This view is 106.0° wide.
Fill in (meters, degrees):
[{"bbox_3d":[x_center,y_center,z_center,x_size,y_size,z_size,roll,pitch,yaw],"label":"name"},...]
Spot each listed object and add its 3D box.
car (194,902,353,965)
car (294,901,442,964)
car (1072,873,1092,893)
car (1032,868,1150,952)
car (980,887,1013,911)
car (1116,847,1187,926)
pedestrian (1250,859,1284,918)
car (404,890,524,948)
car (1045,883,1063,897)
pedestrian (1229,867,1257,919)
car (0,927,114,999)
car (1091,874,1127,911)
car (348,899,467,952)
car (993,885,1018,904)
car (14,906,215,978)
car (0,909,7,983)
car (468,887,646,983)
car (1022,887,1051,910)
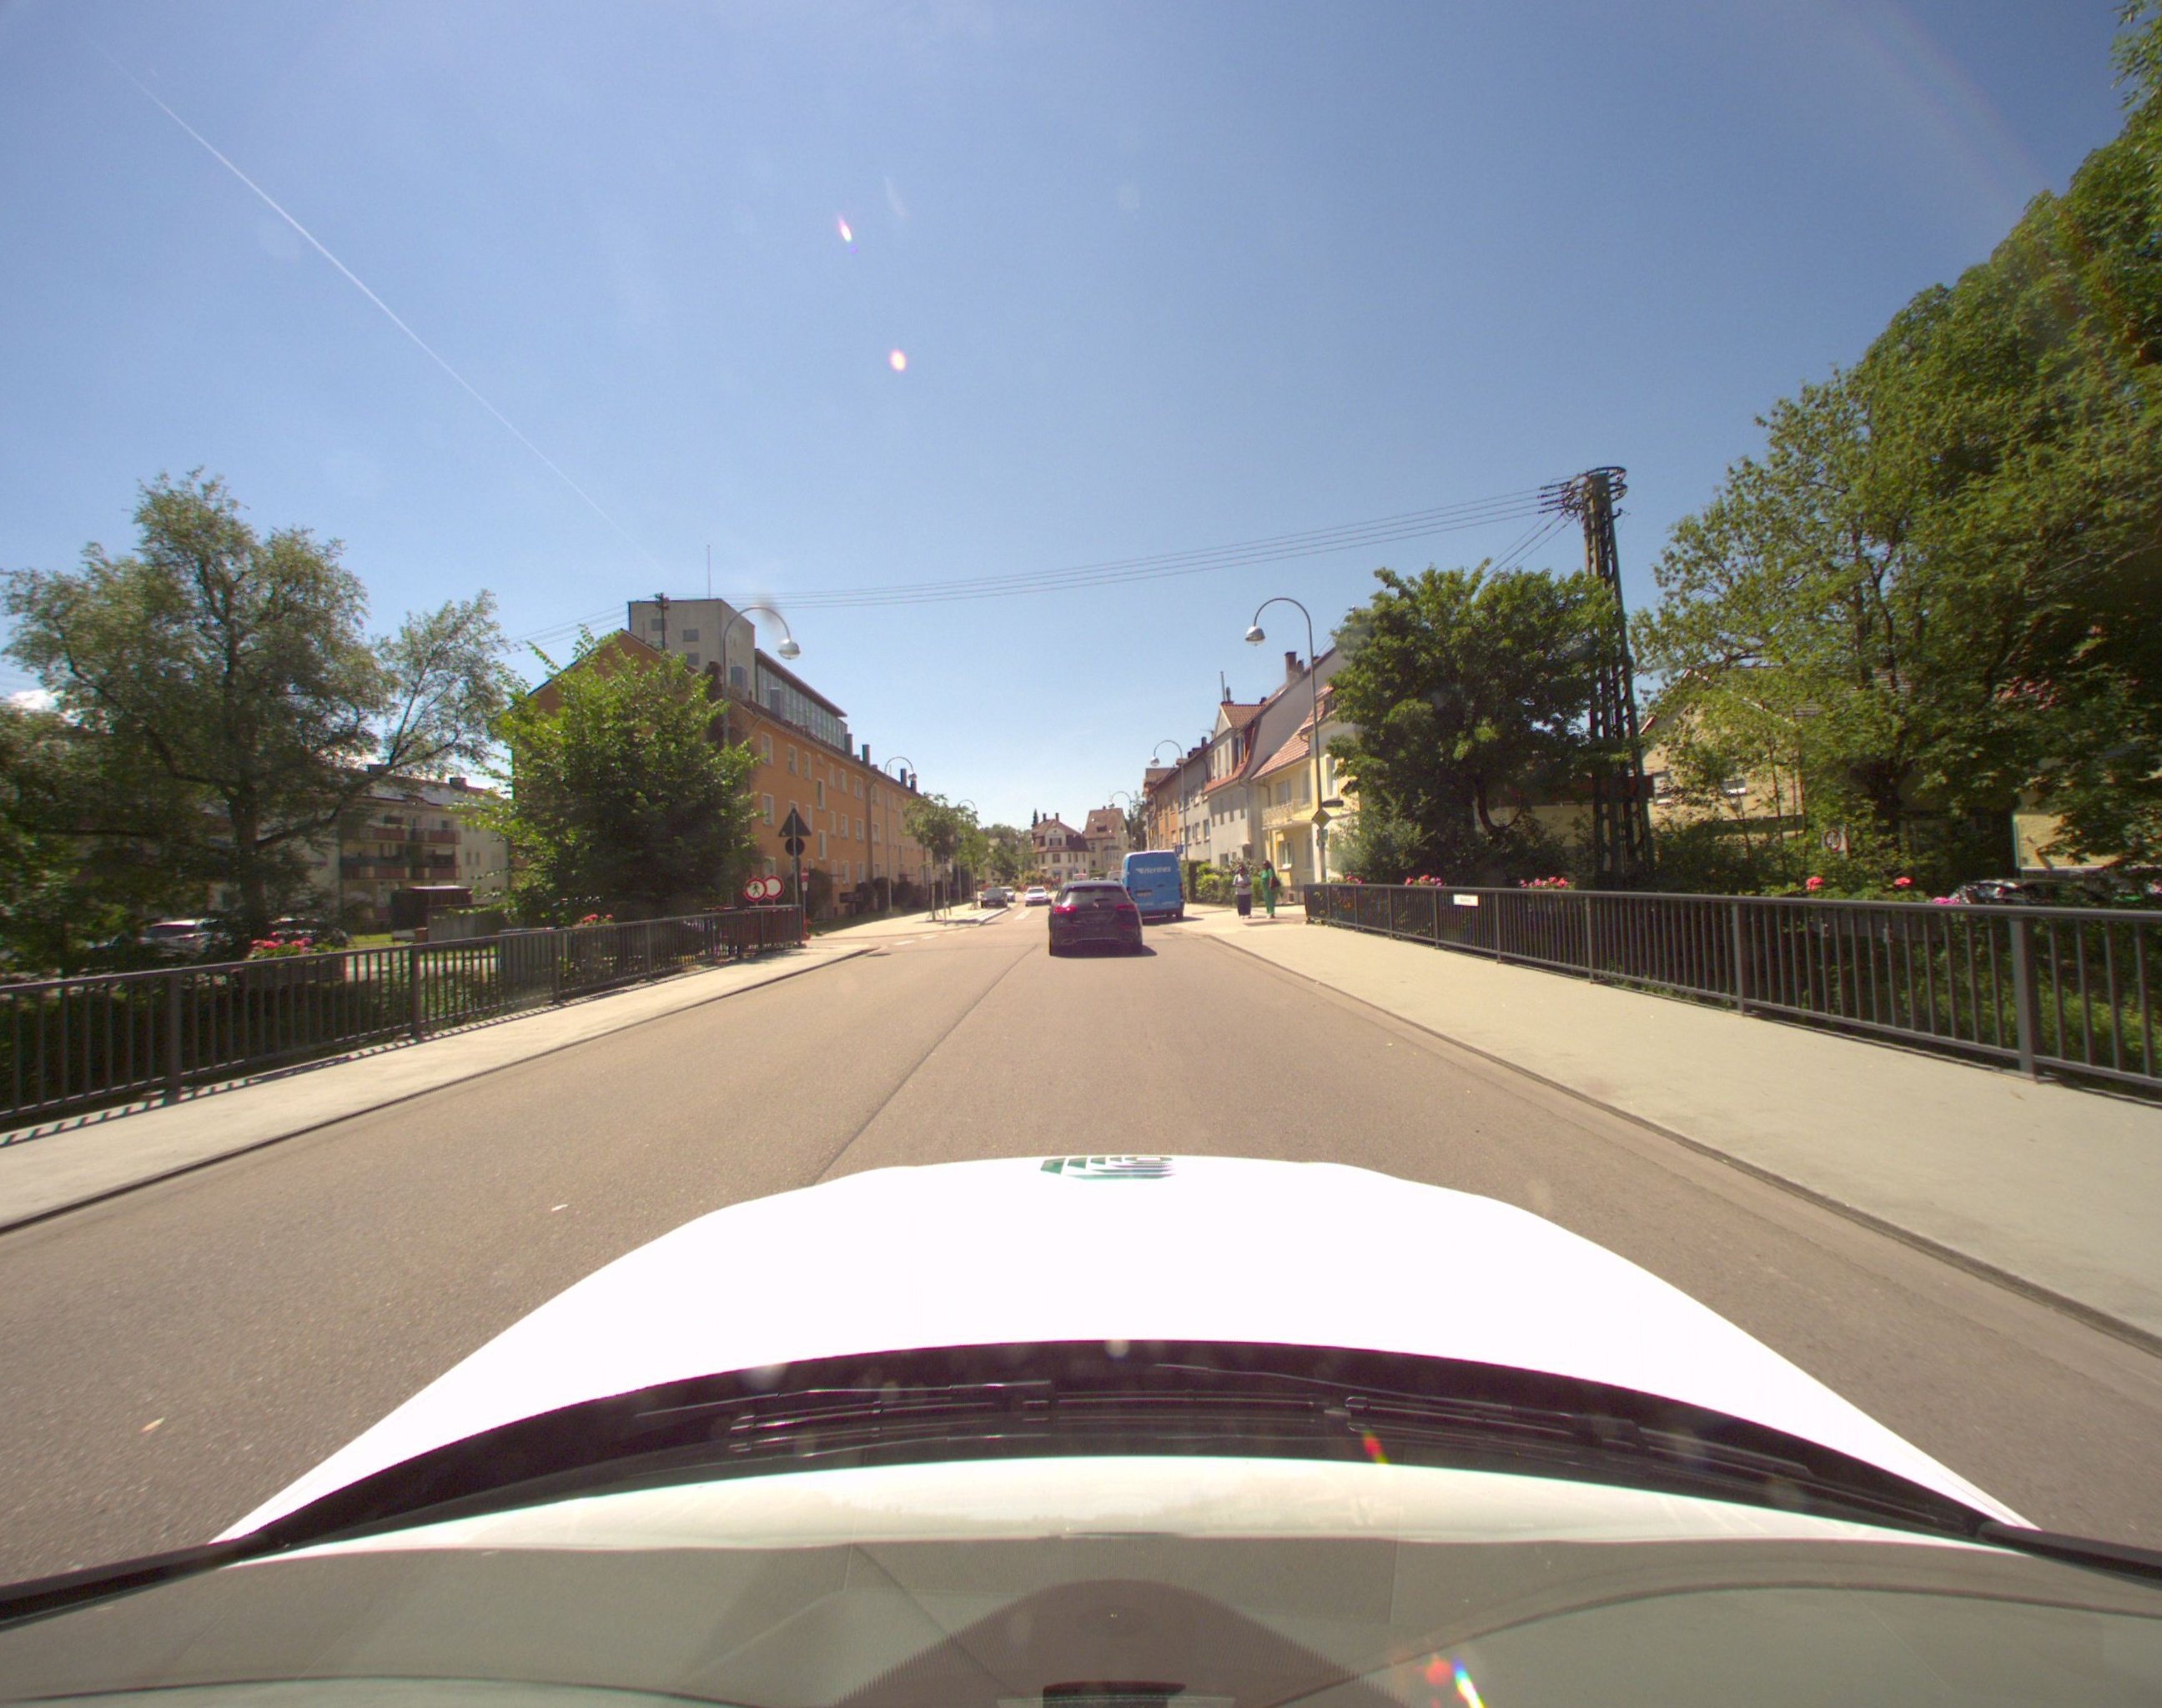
[{"bbox_3d":[-30.052,2.901,30.509,1.988,2.014,3.996,-2,-2,-2],"label":"car"},{"bbox_3d":[-26.777,2.882,30.796,1.986,2.014,4.001,-2,-1,1],"label":"car"},{"bbox_3d":[0.144,3.612,100.981,2.238,2.343,4.851,-4,-2,0],"label":"car"},{"bbox_3d":[0.063,1.186,16.858,1.827,1.442,3.987,-3,-5,-8],"label":"car"},{"bbox_3d":[-6.198,3.271,60.372,1.987,1.660,3.999,0,-2,0],"label":"car"},{"bbox_3d":[2.476,1.158,29.645,2.126,2.541,4.648,-2,-2,1],"label":"car"},{"bbox_3d":[5.654,1.058,24.750,0.662,1.741,0.698,-2,-2,-18],"label":"pedestrian"},{"bbox_3d":[-26.896,2.783,35.675,2.070,2.234,4.001,-2,-1,1],"label":"car"},{"bbox_3d":[-3.240,4.324,97.579,1.987,1.660,3.999,0,-2,0],"label":"car"},{"bbox_3d":[5.115,1.224,25.758,0.613,1.613,0.836,-2,-2,-5],"label":"pedestrian"},{"bbox_3d":[-34.594,3.550,26.299,1.988,2.014,3.997,-2,-2,-1],"label":"car"},{"bbox_3d":[1.661,2.288,49.604,1.987,2.014,3.998,-2,-1,-1],"label":"car"},{"bbox_3d":[-29.586,3.078,35.947,1.988,2.014,3.996,-2,-2,-2],"label":"car"},{"bbox_3d":[-7.161,3.830,77.339,1.987,1.660,3.999,0,-2,0],"label":"car"},{"bbox_3d":[-32.111,2.857,27.272,1.988,2.014,3.996,-2,-2,-2],"label":"car"},{"bbox_3d":[-30.345,2.486,20.249,1.989,2.014,3.995,-2,-2,-3],"label":"car"},{"bbox_3d":[-13.124,1.947,20.740,1.988,2.014,3.997,-2,-1,-2],"label":"car"},{"bbox_3d":[-3.403,3.406,63.101,1.987,1.660,3.999,0,-2,0],"label":"car"}]
